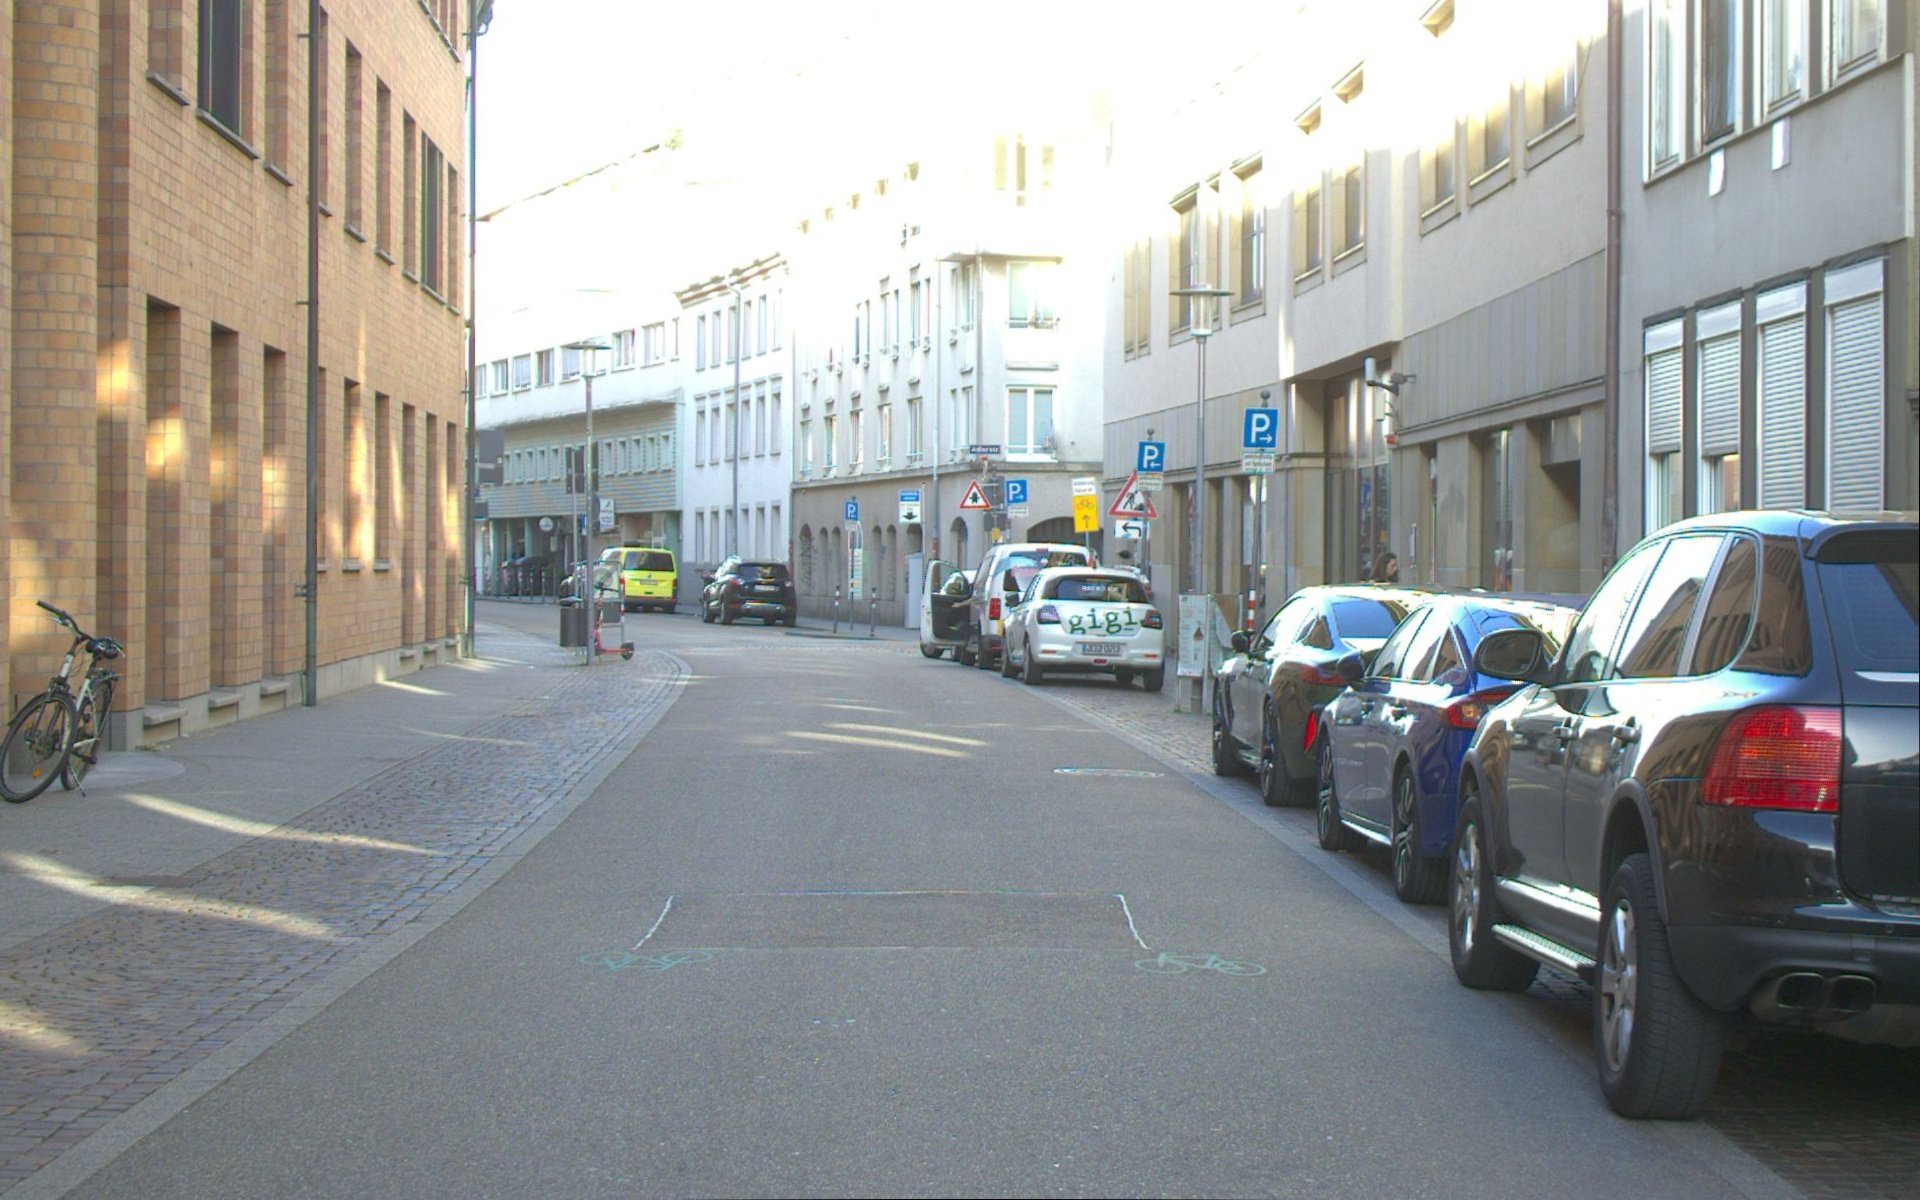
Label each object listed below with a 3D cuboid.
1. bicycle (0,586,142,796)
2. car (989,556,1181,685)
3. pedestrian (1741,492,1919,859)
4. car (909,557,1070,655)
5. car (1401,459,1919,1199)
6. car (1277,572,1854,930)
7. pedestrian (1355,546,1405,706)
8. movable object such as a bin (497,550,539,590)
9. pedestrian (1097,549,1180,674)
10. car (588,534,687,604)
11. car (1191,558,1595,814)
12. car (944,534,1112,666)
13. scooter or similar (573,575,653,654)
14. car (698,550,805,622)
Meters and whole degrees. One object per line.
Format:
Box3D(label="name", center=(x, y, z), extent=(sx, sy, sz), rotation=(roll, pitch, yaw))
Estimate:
Box3D(label="bicycle", center=(-5.404, 0.529, 20.956), extent=(0.631, 1.158, 1.804), rotation=(3, 1, -10))
Box3D(label="car", center=(1.552, 0.225, 44.112), extent=(1.840, 1.473, 4.169), rotation=(3, 1, -6))
Box3D(label="pedestrian", center=(4.277, 0.348, 16.620), extent=(0.788, 1.715, 0.746), rotation=(-2, 1, 0))
Box3D(label="car", center=(0.440, 0.071, 56.316), extent=(1.888, 1.513, 4.064), rotation=(1, 1, -10))
Box3D(label="car", center=(2.783, 0.545, 10.809), extent=(2.103, 1.779, 5.052), rotation=(2, 1, 0))
Box3D(label="car", center=(2.794, 0.624, 16.994), extent=(1.807, 1.408, 4.790), rotation=(3, 1, -2))
Box3D(label="pedestrian", center=(4.353, 0.264, 35.626), extent=(0.481, 1.649, 0.538), rotation=(0, 1, 11))
Box3D(label="movable object such as a bin", center=(-16.383, -1.118, 127.455), extent=(1.131, 1.474, 1.740), rotation=(1, 1, -21))
Box3D(label="pedestrian", center=(2.608, 0.162, 50.374), extent=(1.042, 1.795, 1.199), rotation=(1, 0, -5))
Box3D(label="car", center=(-9.596, -0.939, 102.020), extent=(2.052, 2.007, 4.176), rotation=(0, 1, -17))
Box3D(label="car", center=(2.745, 0.481, 23.028), extent=(1.894, 1.448, 5.226), rotation=(2, 1, -1))
Box3D(label="car", center=(0.934, -0.031, 50.387), extent=(1.830, 1.785, 5.215), rotation=(2, 0, -5))
Box3D(label="scooter or similar", center=(-5.457, 0.218, 54.114), extent=(0.698, 1.213, 1.355), rotation=(0, 1, 22))
Box3D(label="car", center=(-5.240, -0.377, 85.953), extent=(1.967, 1.686, 4.102), rotation=(2, 1, -13))
